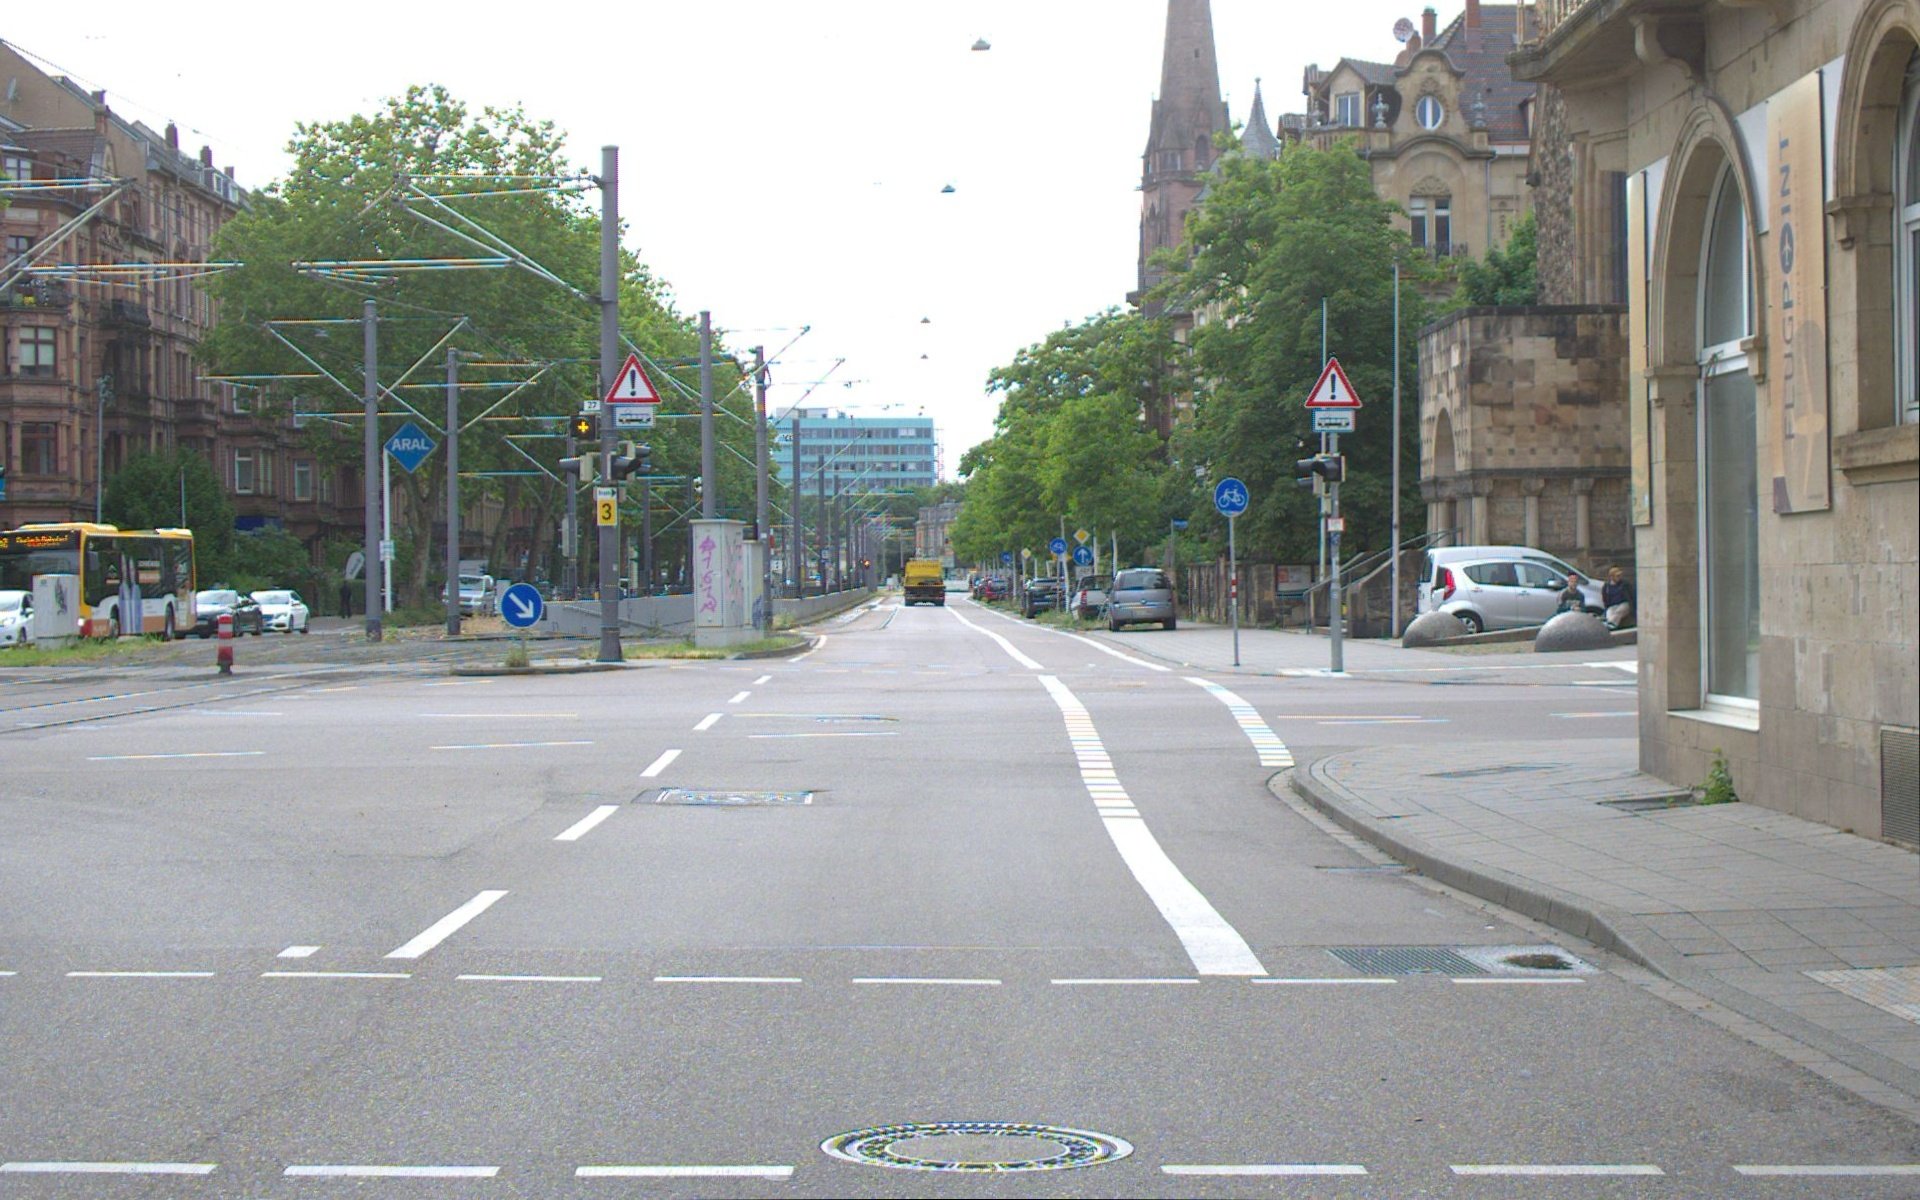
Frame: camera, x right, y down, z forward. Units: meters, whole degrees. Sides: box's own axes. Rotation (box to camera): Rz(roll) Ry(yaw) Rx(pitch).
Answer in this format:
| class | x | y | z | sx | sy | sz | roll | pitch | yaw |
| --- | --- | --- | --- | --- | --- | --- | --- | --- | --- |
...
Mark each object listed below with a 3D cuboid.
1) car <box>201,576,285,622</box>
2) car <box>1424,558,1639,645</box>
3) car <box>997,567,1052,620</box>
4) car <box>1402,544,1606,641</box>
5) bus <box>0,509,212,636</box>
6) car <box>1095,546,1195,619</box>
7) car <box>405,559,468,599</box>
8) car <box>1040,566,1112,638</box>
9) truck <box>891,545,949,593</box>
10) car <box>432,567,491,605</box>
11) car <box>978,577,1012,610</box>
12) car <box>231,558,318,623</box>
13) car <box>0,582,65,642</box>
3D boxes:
| class | x | y | z | sx | sy | sz | roll | pitch | yaw |
| --- | --- | --- | --- | --- | --- | --- | --- | --- | --- |
| car | -21.292 | -0.045 | 102.229 | 1.656 | 1.316 | 3.638 | 1 | 1 | 1 |
| car | 10.764 | 0.016 | 64.936 | 3.713 | 1.558 | 2.000 | 1 | 0 | 0 |
| car | 2.538 | -0.274 | 136.001 | 1.993 | 2.007 | 4.000 | 1 | 1 | -1 |
| car | 10.793 | -0.161 | 68.416 | 3.713 | 1.849 | 2.000 | 1 | 0 | 0 |
| bus | -22.478 | -0.726 | 89.106 | 3.231 | 3.025 | 12.311 | 1 | 1 | 1 |
| car | 4.868 | -0.472 | 89.996 | 1.994 | 1.849 | 4.024 | 1 | 1 | 12 |
| car | -21.538 | -0.874 | 141.532 | 1.993 | 1.605 | 4.000 | 1 | 1 | -1 |
| car | 3.343 | 0.033 | 99.619 | 1.993 | 2.007 | 4.000 | 1 | 1 | 1 |
| truck | -2.335 | -1.877 | 204.254 | 3.055 | 2.760 | 9.815 | 0 | 1 | 2 |
| car | -21.629 | -0.634 | 149.349 | 1.993 | 1.605 | 4.000 | 1 | 1 | -1 |
| car | 2.193 | -0.400 | 216.848 | 1.993 | 2.007 | 4.000 | 1 | 1 | -1 |
| car | -21.839 | -0.316 | 109.614 | 1.993 | 2.007 | 4.000 | 1 | 1 | -1 |
| car | -21.910 | 0.262 | 79.057 | 1.656 | 1.316 | 3.638 | 1 | 1 | 1 |
